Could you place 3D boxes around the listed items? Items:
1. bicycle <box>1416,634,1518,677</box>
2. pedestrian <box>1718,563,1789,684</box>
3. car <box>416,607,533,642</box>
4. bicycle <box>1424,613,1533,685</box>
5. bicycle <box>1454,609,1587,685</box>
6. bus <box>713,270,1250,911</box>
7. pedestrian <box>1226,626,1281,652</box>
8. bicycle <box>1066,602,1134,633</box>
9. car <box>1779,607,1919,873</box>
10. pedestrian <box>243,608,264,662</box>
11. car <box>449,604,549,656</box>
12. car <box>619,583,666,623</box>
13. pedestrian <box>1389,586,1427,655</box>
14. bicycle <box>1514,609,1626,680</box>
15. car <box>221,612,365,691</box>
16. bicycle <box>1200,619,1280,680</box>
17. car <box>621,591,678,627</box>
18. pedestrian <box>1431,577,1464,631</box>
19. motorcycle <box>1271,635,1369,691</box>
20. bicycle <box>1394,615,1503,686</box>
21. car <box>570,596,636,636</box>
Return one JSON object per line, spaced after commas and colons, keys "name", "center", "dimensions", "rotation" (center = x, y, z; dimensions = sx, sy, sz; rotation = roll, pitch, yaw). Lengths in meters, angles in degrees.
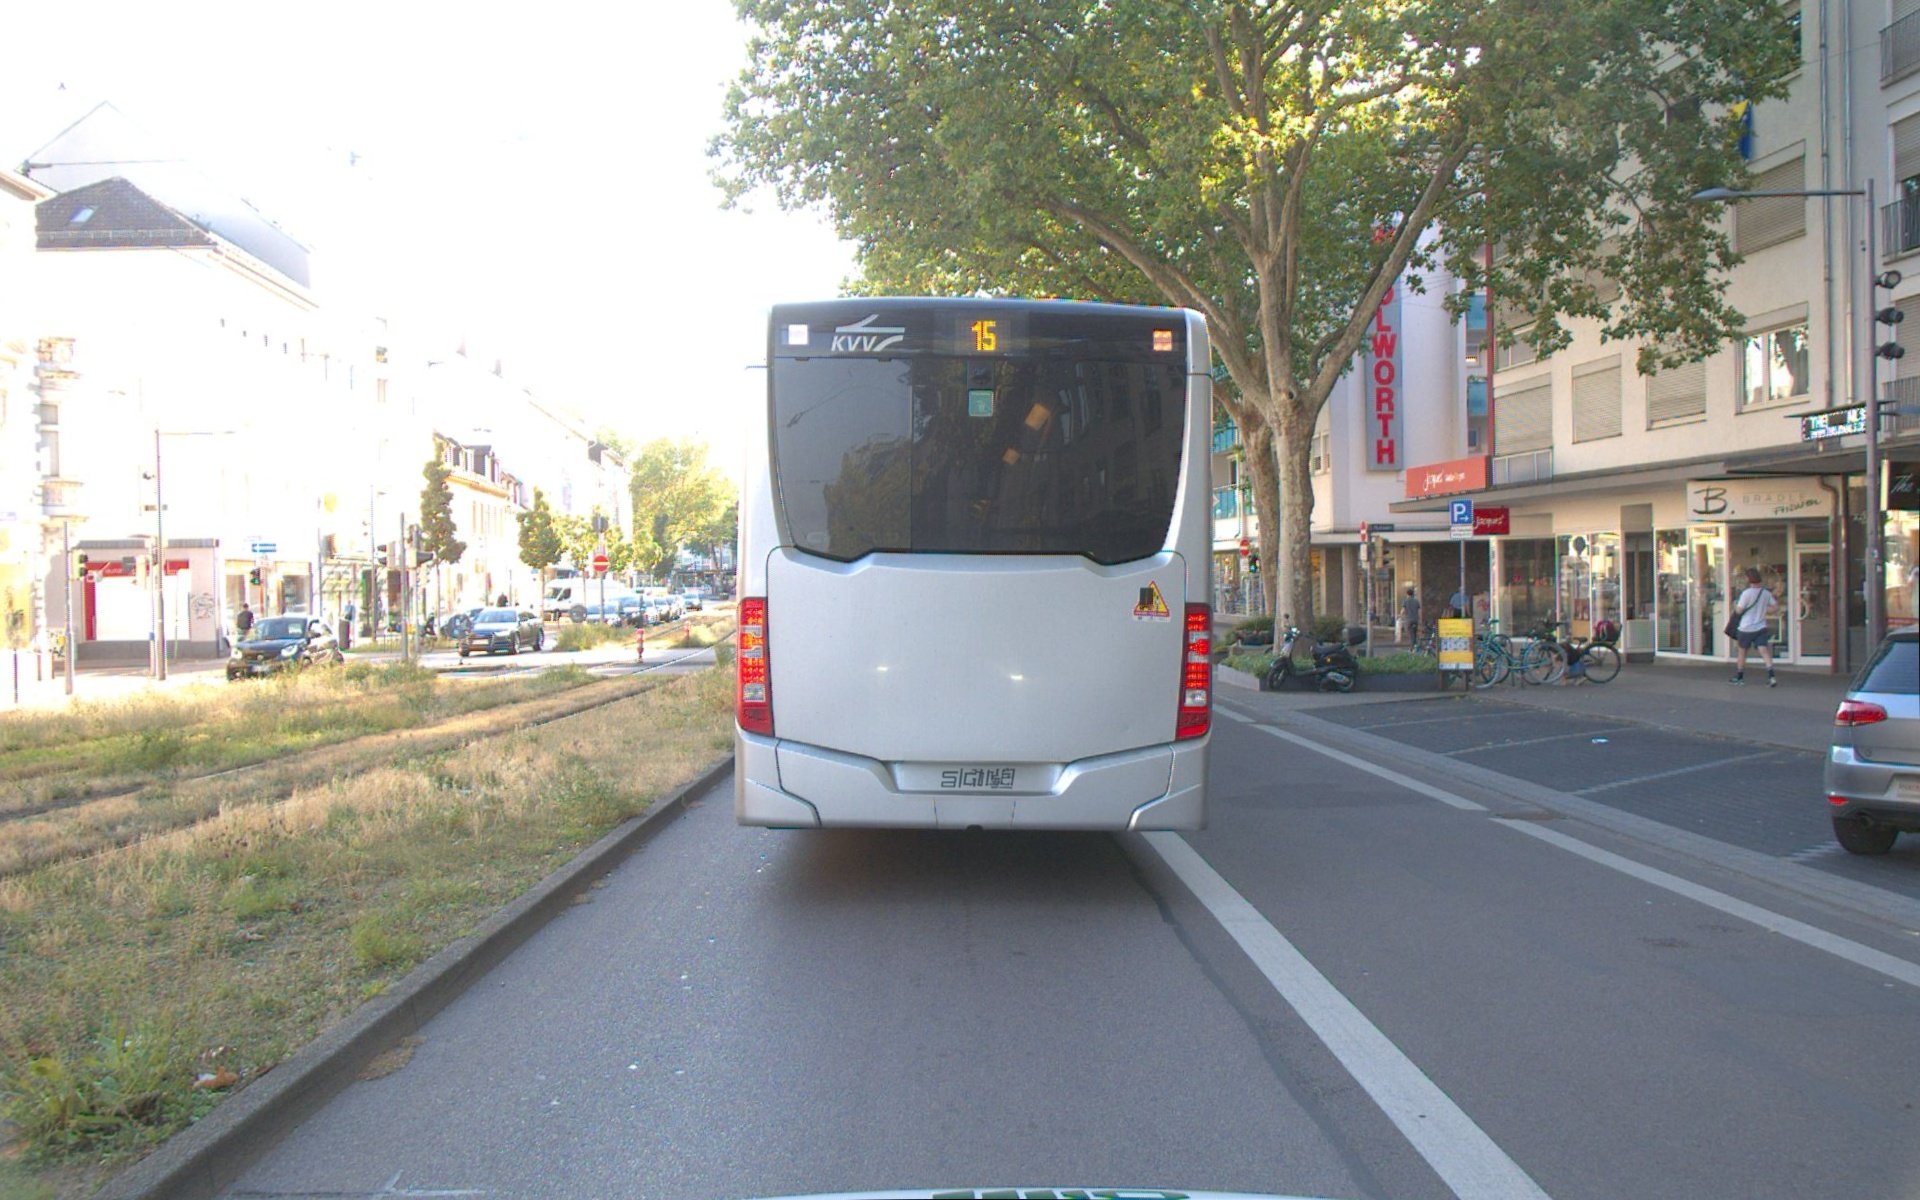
{"name": "bicycle", "center": [9.997, 1.094, 32.665], "dimensions": [1.836, 0.779, 0.712], "rotation": [-1, 1, 8]}
{"name": "pedestrian", "center": [12.777, 0.375, 26.643], "dimensions": [0.632, 1.909, 0.821], "rotation": [-1, 0, -14]}
{"name": "car", "center": [-21.217, 1.054, 72.368], "dimensions": [4.504, 1.437, 1.974], "rotation": [-1, 0, -37]}
{"name": "bicycle", "center": [9.596, 0.901, 30.623], "dimensions": [1.753, 1.210, 0.671], "rotation": [-4, -1, -9]}
{"name": "bicycle", "center": [9.864, 0.823, 29.174], "dimensions": [2.037, 1.254, 0.832], "rotation": [-2, 0, 4]}
{"name": "bus", "center": [0.129, -0.067, 11.685], "dimensions": [2.623, 3.137, 7.114], "rotation": [0, 0, 0]}
{"name": "pedestrian", "center": [6.959, 0.926, 39.232], "dimensions": [1.229, 0.599, 0.482], "rotation": [0, 0, -3]}
{"name": "bicycle", "center": [4.978, 0.626, 58.891], "dimensions": [2.267, 1.046, 0.835], "rotation": [-1, 1, -9]}
{"name": "car", "center": [7.104, 0.775, 10.567], "dimensions": [4.136, 1.477, 1.784], "rotation": [-1, 0, -39]}
{"name": "pedestrian", "center": [-23.047, 1.148, 53.971], "dimensions": [0.417, 1.743, 0.508], "rotation": [-1, 0, 3]}
{"name": "car", "center": [-14.947, 0.928, 53.859], "dimensions": [1.953, 1.586, 4.774], "rotation": [-1, 0, -1]}
{"name": "car", "center": [-17.068, 0.151, 89.023], "dimensions": [1.954, 2.049, 3.997], "rotation": [-1, 0, -3]}
{"name": "pedestrian", "center": [11.969, 0.548, 44.173], "dimensions": [0.764, 1.825, 0.764], "rotation": [-1, 0, -1]}
{"name": "bicycle", "center": [10.888, 0.784, 29.562], "dimensions": [1.726, 1.174, 0.679], "rotation": [-3, 0, 8]}
{"name": "car", "center": [-14.703, 1.101, 36.634], "dimensions": [1.687, 1.535, 3.476], "rotation": [-3, 0, 0]}
{"name": "bicycle", "center": [5.561, 0.980, 32.872], "dimensions": [1.478, 1.124, 0.460], "rotation": [2, 0, 0]}
{"name": "car", "center": [-14.818, 0.412, 79.089], "dimensions": [1.744, 1.643, 4.509], "rotation": [-1, 0, 1]}
{"name": "pedestrian", "center": [15.782, 0.112, 53.546], "dimensions": [0.733, 1.708, 0.834], "rotation": [-1, 2, -7]}
{"name": "motorcycle", "center": [6.161, 1.076, 28.338], "dimensions": [1.539, 0.908, 0.544], "rotation": [-1, 0, -4]}
{"name": "bicycle", "center": [9.325, 0.966, 31.628], "dimensions": [1.836, 1.210, 0.712], "rotation": [-4, -1, 8]}
{"name": "car", "center": [-15.095, 0.666, 70.128], "dimensions": [1.744, 1.475, 4.045], "rotation": [-3, 1, 1]}
